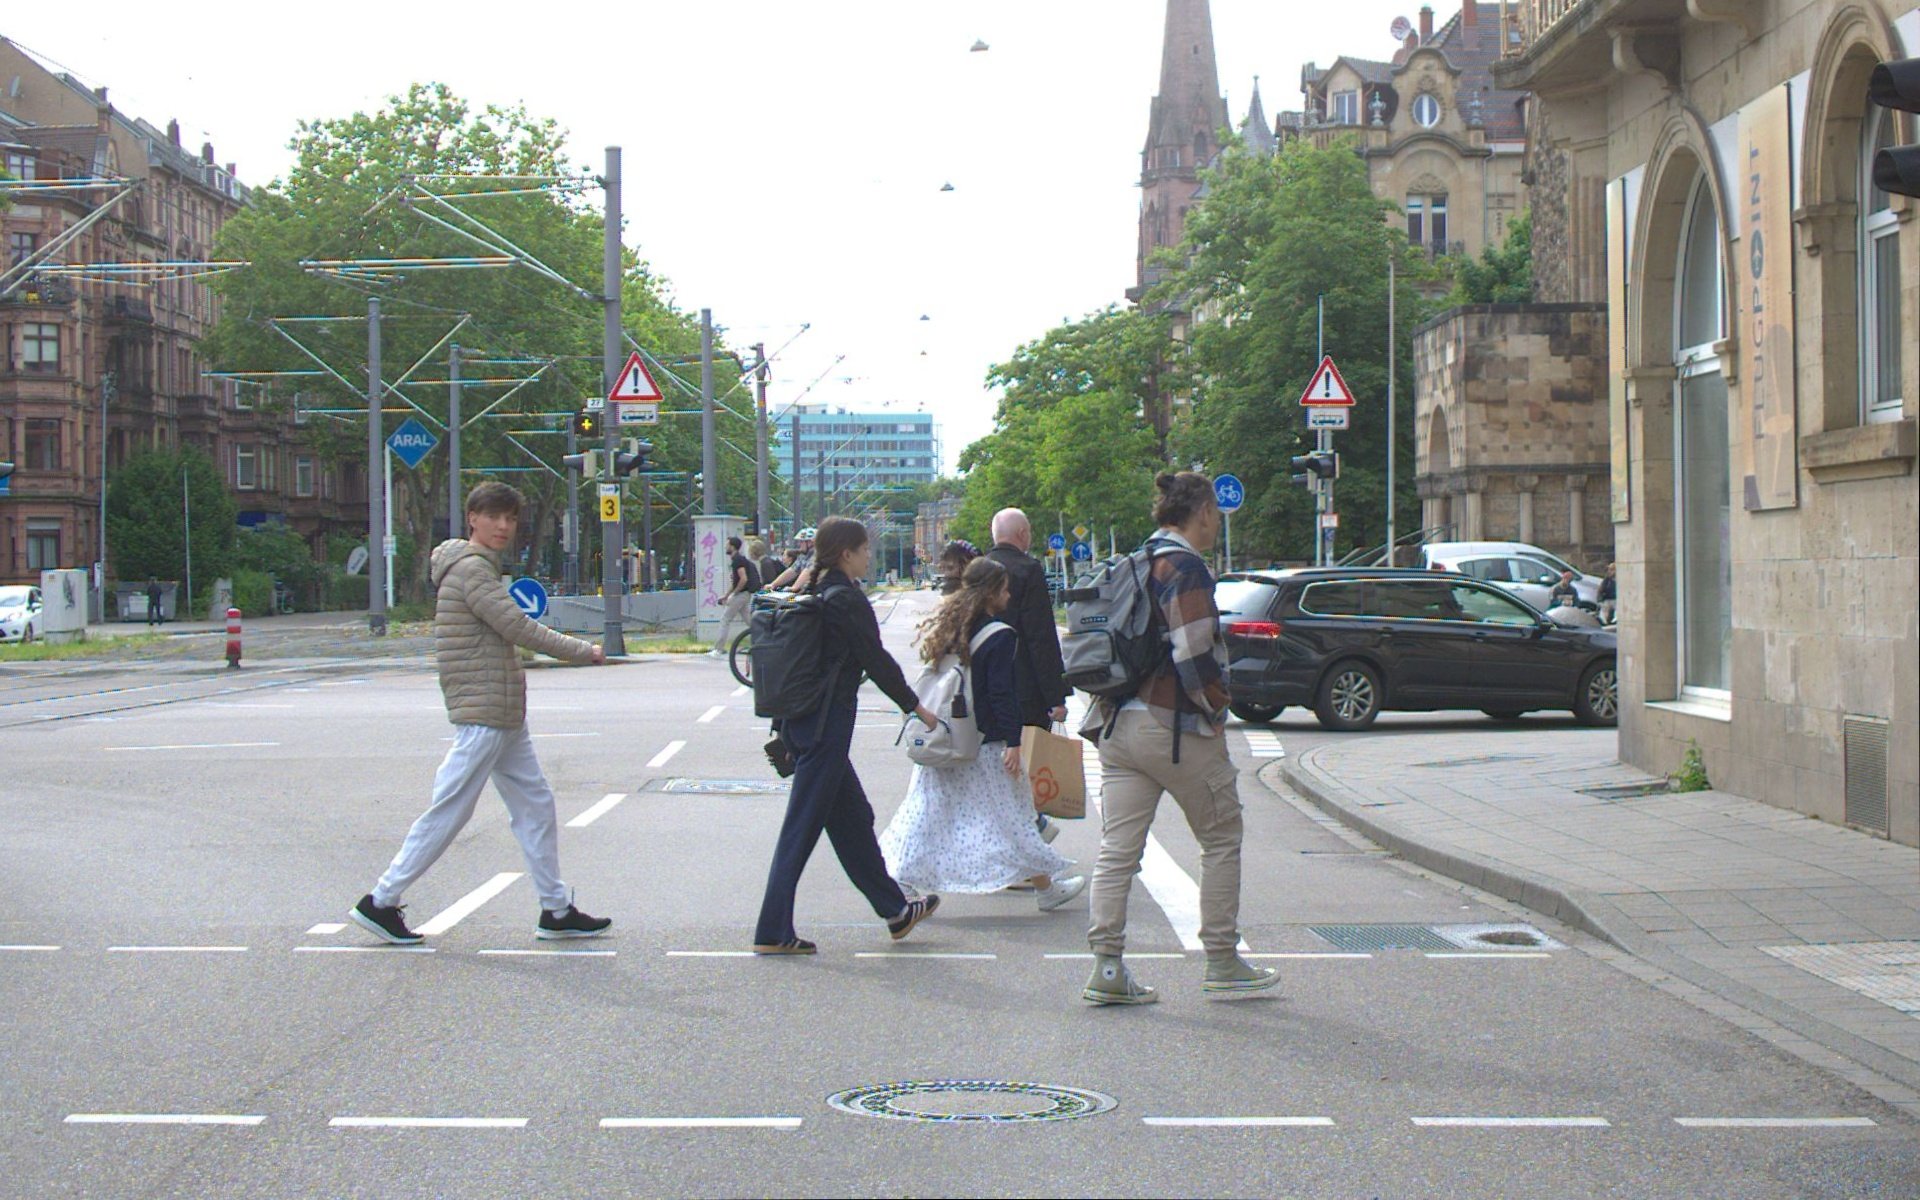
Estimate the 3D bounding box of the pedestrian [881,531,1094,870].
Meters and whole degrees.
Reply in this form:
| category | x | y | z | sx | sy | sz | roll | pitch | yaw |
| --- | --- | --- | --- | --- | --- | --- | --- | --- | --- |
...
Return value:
| category | x | y | z | sx | sy | sz | roll | pitch | yaw |
| --- | --- | --- | --- | --- | --- | --- | --- | --- | --- |
| pedestrian | 0.146 | 0.496 | 17.554 | 0.671 | 1.674 | 0.866 | 1 | 0 | 38 |

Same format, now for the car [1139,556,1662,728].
| category | x | y | z | sx | sy | sz | roll | pitch | yaw |
| --- | --- | --- | --- | --- | --- | --- | --- | --- | --- |
| car | 4.058 | 0.379 | 31.716 | 4.431 | 1.505 | 1.839 | 1 | 0 | -22 |

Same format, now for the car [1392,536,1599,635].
| category | x | y | z | sx | sy | sz | roll | pitch | yaw |
| --- | --- | --- | --- | --- | --- | --- | --- | --- | --- |
| car | 10.720 | -0.297 | 68.961 | 3.799 | 1.897 | 2.000 | 1 | 0 | 0 |

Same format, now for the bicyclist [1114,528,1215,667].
| category | x | y | z | sx | sy | sz | roll | pitch | yaw |
| --- | --- | --- | --- | --- | --- | --- | --- | --- | --- |
| bicyclist | 2.507 | -0.033 | 42.191 | 1.038 | 1.678 | 0.645 | 1 | 0 | -20 |

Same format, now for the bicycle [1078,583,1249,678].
| category | x | y | z | sx | sy | sz | roll | pitch | yaw |
| --- | --- | --- | --- | --- | --- | --- | --- | --- | --- |
| bicycle | 2.497 | 0.370 | 42.164 | 1.937 | 1.132 | 0.736 | 1 | 0 | -21 |

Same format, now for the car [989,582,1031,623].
| category | x | y | z | sx | sy | sz | roll | pitch | yaw |
| --- | --- | --- | --- | --- | --- | --- | --- | --- | --- |
| car | 2.500 | 0.105 | 173.048 | 1.993 | 2.007 | 4.000 | 1 | 0 | -1 |

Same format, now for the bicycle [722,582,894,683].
| category | x | y | z | sx | sy | sz | roll | pitch | yaw |
| --- | --- | --- | --- | --- | --- | --- | --- | --- | --- |
| bicycle | -1.756 | 0.378 | 39.831 | 1.899 | 1.138 | 0.629 | 1 | 0 | -29 |

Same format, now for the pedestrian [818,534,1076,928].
| category | x | y | z | sx | sy | sz | roll | pitch | yaw |
| --- | --- | --- | --- | --- | --- | --- | --- | --- | --- |
| pedestrian | -0.051 | 0.527 | 14.441 | 0.702 | 1.587 | 0.829 | 1 | 0 | 37 |

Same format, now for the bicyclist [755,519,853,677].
| category | x | y | z | sx | sy | sz | roll | pitch | yaw |
| --- | --- | --- | --- | --- | --- | --- | --- | --- | --- |
| bicyclist | -1.806 | -0.022 | 39.819 | 0.965 | 1.813 | 0.532 | 1 | 0 | -29 |

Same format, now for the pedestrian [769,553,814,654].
| category | x | y | z | sx | sy | sz | roll | pitch | yaw |
| --- | --- | --- | --- | --- | --- | --- | --- | --- | --- |
| pedestrian | -2.567 | 0.054 | 52.448 | 0.653 | 1.532 | 0.466 | 1 | 0 | -5 |

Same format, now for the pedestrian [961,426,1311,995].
| category | x | y | z | sx | sy | sz | roll | pitch | yaw |
| --- | --- | --- | --- | --- | --- | --- | --- | --- | --- |
| pedestrian | 0.594 | 0.344 | 11.353 | 0.627 | 1.772 | 1.131 | 0 | 0 | 37 |

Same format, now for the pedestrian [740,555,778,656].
| category | x | y | z | sx | sy | sz | roll | pitch | yaw |
| --- | --- | --- | --- | --- | --- | --- | --- | --- | --- |
| pedestrian | -3.095 | 0.083 | 52.962 | 0.545 | 1.532 | 0.466 | 1 | 0 | -5 |

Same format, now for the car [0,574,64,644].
| category | x | y | z | sx | sy | sz | roll | pitch | yaw |
| --- | --- | --- | --- | --- | --- | --- | --- | --- | --- |
| car | -22.232 | 0.184 | 79.843 | 1.894 | 1.552 | 3.836 | 1 | 0 | -1 |

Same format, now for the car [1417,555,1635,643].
| category | x | y | z | sx | sy | sz | roll | pitch | yaw |
| --- | --- | --- | --- | --- | --- | --- | --- | --- | --- |
| car | 10.756 | -0.020 | 65.552 | 3.799 | 1.595 | 2.000 | 1 | 0 | 0 |

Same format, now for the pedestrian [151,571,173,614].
| category | x | y | z | sx | sy | sz | roll | pitch | yaw |
| --- | --- | --- | --- | --- | --- | --- | --- | --- | --- |
| pedestrian | -26.853 | -0.245 | 115.709 | 0.452 | 1.455 | 0.524 | 1 | 0 | 40 |

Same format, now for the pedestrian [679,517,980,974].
| category | x | y | z | sx | sy | sz | roll | pitch | yaw |
| --- | --- | --- | --- | --- | --- | --- | --- | --- | --- |
| pedestrian | -0.484 | 0.522 | 12.991 | 0.627 | 1.647 | 0.994 | 1 | 0 | 37 |

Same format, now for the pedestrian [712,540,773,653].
| category | x | y | z | sx | sy | sz | roll | pitch | yaw |
| --- | --- | --- | --- | --- | --- | --- | --- | --- | --- |
| pedestrian | -3.187 | -0.052 | 50.399 | 0.850 | 1.649 | 0.508 | 1 | 0 | -2 |

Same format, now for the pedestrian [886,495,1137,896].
| category | x | y | z | sx | sy | sz | roll | pitch | yaw |
| --- | --- | --- | --- | --- | --- | --- | --- | --- | --- |
| pedestrian | 0.235 | 0.417 | 15.760 | 0.917 | 1.778 | 0.646 | 1 | 0 | 37 |

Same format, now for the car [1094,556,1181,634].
| category | x | y | z | sx | sy | sz | roll | pitch | yaw |
| --- | --- | --- | --- | --- | --- | --- | --- | --- | --- |
| car | 4.671 | -0.142 | 90.881 | 1.993 | 2.007 | 4.000 | 1 | 0 | -1 |

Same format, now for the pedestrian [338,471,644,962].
| category | x | y | z | sx | sy | sz | roll | pitch | yaw |
| --- | --- | --- | --- | --- | --- | --- | --- | --- | --- |
| pedestrian | -1.795 | 0.432 | 13.138 | 1.011 | 1.807 | 0.585 | 1 | 0 | -23 |
